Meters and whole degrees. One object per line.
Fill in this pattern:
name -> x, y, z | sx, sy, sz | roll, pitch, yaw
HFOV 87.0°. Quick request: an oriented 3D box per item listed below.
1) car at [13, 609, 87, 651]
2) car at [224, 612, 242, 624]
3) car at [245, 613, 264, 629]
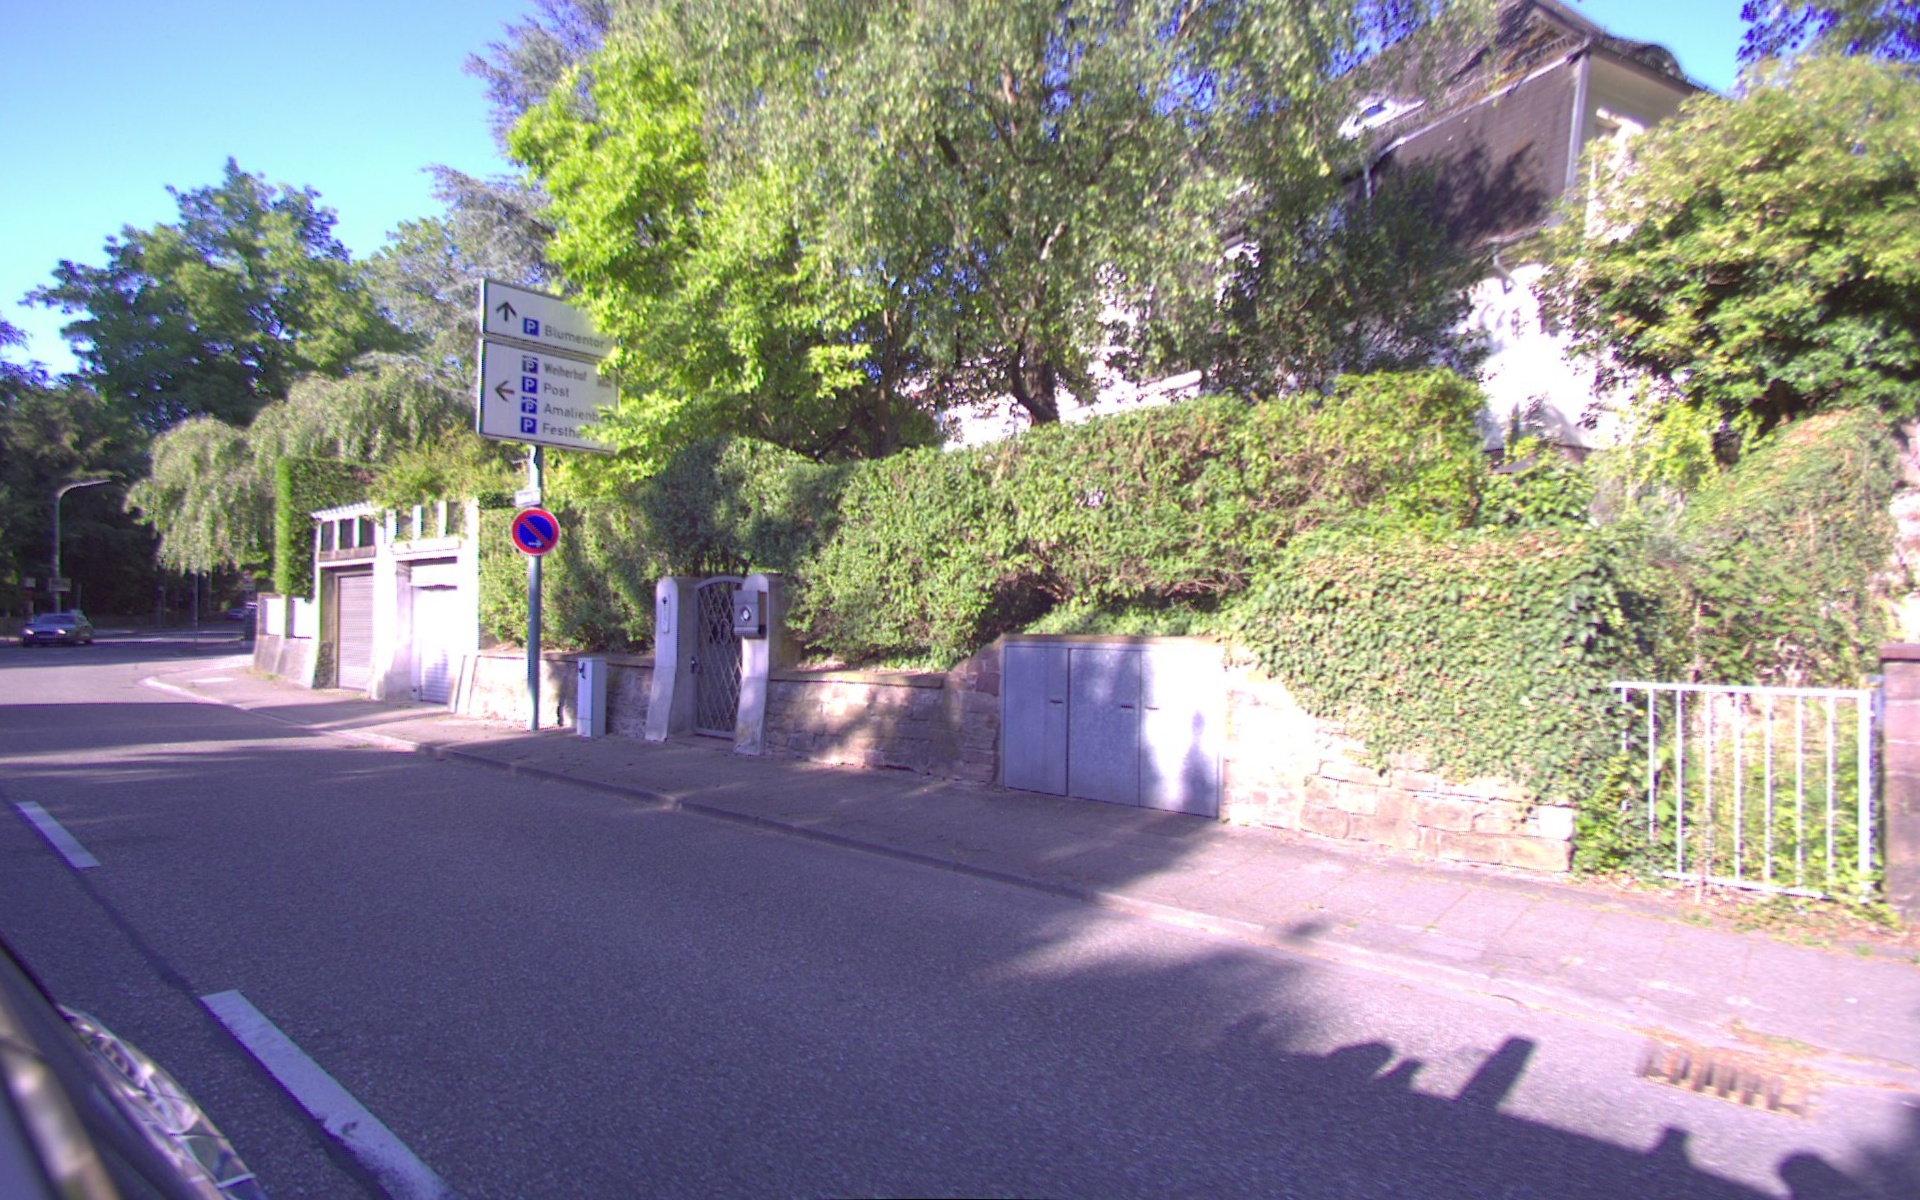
car -> -39.865, 1.271, 44.447 | 1.967, 1.652, 4.009 | -2, 1, -36
car -> -93.136, 2.356, 129.659 | 1.795, 1.393, 3.945 | 4, -2, -35
car -> -92.241, 2.791, 132.309 | 1.966, 2.029, 4.011 | 0, -1, -34
